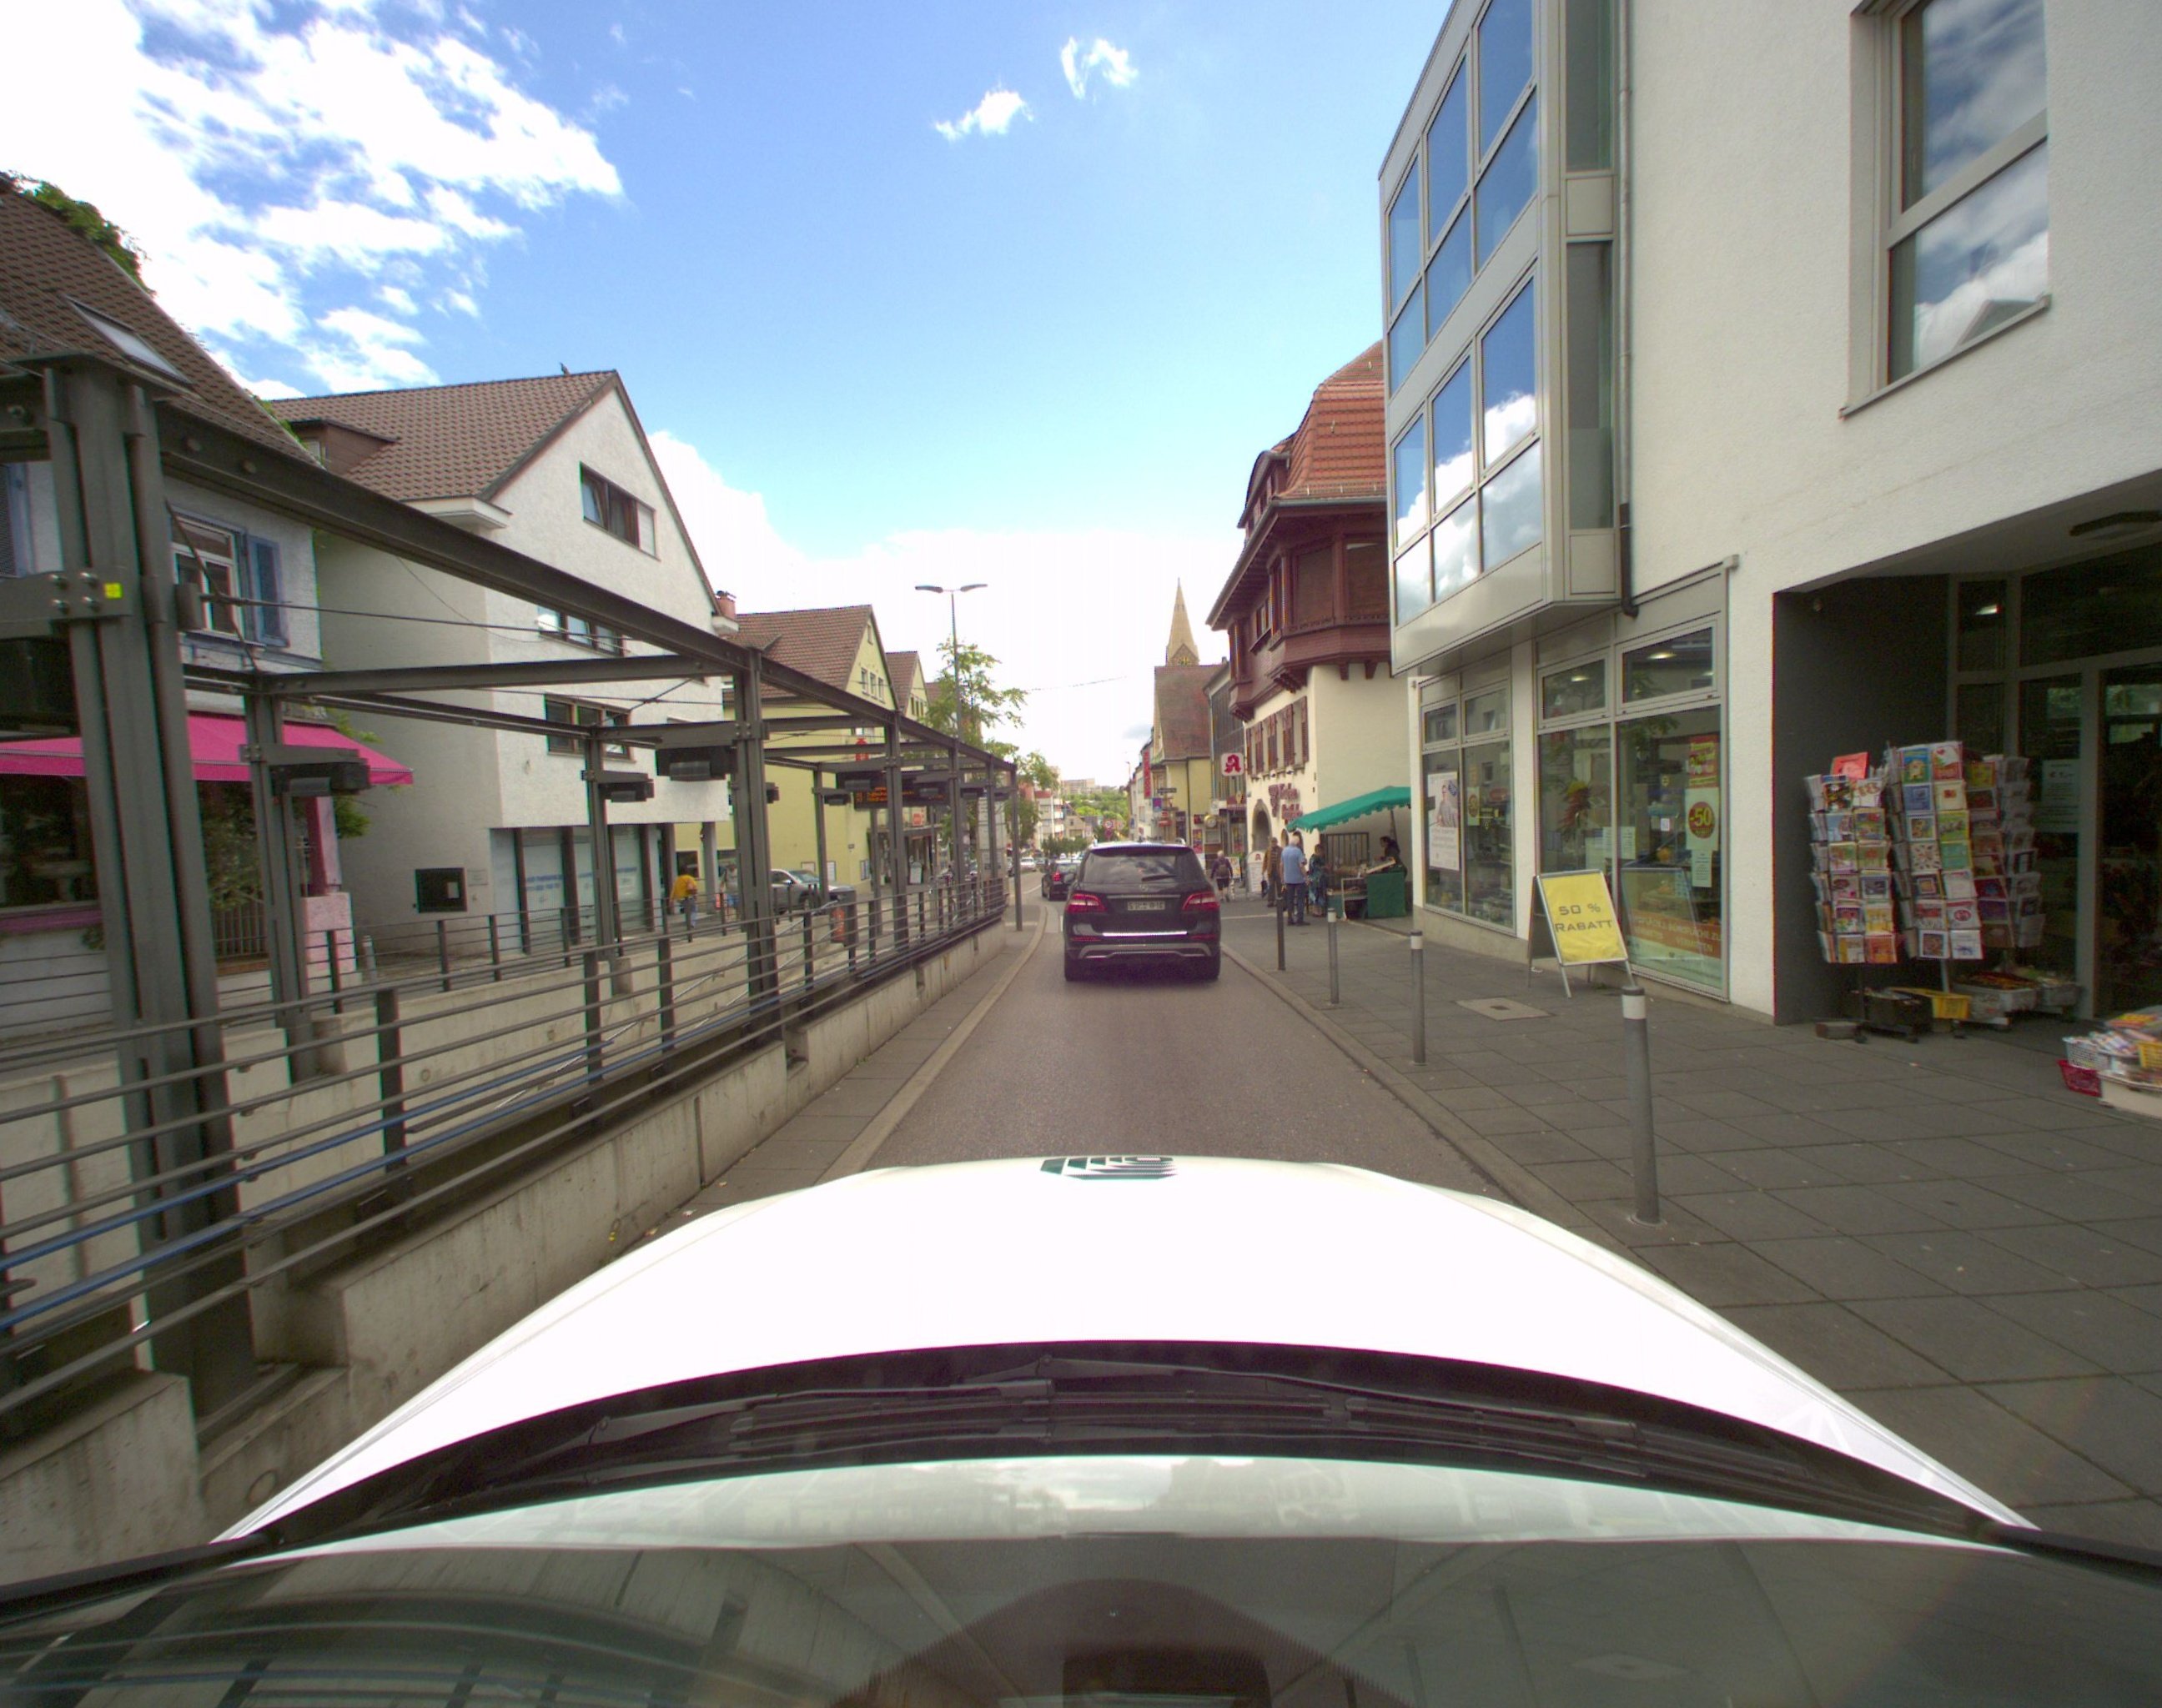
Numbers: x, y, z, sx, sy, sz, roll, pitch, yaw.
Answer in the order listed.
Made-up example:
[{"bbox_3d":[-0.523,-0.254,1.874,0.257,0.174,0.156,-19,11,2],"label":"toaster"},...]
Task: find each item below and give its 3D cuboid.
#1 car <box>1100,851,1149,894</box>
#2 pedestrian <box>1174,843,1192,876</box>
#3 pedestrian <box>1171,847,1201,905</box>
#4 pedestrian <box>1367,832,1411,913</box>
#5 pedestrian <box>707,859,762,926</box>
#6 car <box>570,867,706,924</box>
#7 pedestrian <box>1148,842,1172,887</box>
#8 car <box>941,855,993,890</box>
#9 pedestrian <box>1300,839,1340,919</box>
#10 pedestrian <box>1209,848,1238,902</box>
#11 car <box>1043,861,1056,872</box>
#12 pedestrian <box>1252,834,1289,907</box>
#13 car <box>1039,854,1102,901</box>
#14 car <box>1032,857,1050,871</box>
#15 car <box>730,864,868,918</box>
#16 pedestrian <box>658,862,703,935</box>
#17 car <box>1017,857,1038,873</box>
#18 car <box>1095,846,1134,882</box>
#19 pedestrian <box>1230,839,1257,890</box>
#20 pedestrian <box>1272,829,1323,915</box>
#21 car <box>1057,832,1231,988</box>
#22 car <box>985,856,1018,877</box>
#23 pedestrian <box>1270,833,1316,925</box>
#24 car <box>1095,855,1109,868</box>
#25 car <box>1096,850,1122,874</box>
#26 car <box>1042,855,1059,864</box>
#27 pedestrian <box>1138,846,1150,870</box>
[{"bbox_3d":[1.718,0.713,32.936,1.796,1.555,3.955,-3,0,2],"label":"car"},{"bbox_3d":[5.466,0.301,43.629,0.859,1.707,0.947,-3,0,7],"label":"pedestrian"},{"bbox_3d":[3.082,0.632,23.915,0.768,1.645,0.872,-3,0,7],"label":"pedestrian"},{"bbox_3d":[6.349,0.371,16.800,0.620,1.612,0.704,-3,0,6],"label":"pedestrian"},{"bbox_3d":[-9.699,1.057,22.805,0.909,1.787,0.992,-3,0,17],"label":"pedestrian"},{"bbox_3d":[-18.001,1.669,33.229,4.318,1.805,2.004,-5,3,5],"label":"car"},{"bbox_3d":[3.039,0.396,31.163,0.819,1.666,0.803,-3,0,7],"label":"pedestrian"},{"bbox_3d":[-5.987,0.921,43.291,2.000,1.693,4.608,-1,1,1],"label":"car"},{"bbox_3d":[5.024,0.516,17.148,0.620,1.612,0.704,-3,0,6],"label":"pedestrian"},{"bbox_3d":[4.159,0.612,23.803,0.720,1.531,0.809,-3,0,7],"label":"pedestrian"},{"bbox_3d":[-4.725,1.840,122.023,1.921,1.496,4.259,0,0,-2],"label":"car"},{"bbox_3d":[4.846,0.413,20.823,0.782,1.801,0.677,-3,0,7],"label":"pedestrian"},{"bbox_3d":[-0.447,0.806,29.681,1.785,1.540,3.733,-3,0,-8],"label":"car"},{"bbox_3d":[-4.932,1.278,100.715,1.920,1.621,4.638,-1,-1,0],"label":"car"},{"bbox_3d":[-9.771,1.313,28.247,4.302,1.621,1.980,-4,-5,24],"label":"car"},{"bbox_3d":[-10.009,1.104,20.375,0.635,1.738,0.835,-4,0,-1],"label":"pedestrian"},{"bbox_3d":[-5.452,1.115,83.453,1.920,1.511,4.261,0,0,0],"label":"car"},{"bbox_3d":[1.894,0.501,44.382,1.868,1.799,4.738,-2,0,5],"label":"car"},{"bbox_3d":[5.842,0.361,29.315,0.771,1.769,0.818,-3,0,2],"label":"pedestrian"},{"bbox_3d":[4.857,0.396,18.284,0.771,1.857,0.707,-3,0,44],"label":"pedestrian"},{"bbox_3d":[0.774,0.634,11.289,1.936,1.740,4.180,-1,0,2],"label":"car"},{"bbox_3d":[-5.891,0.872,60.738,1.920,1.492,4.842,0,0,0],"label":"car"},{"bbox_3d":[4.206,0.494,16.153,0.694,1.767,0.629,-3,0,27],"label":"pedestrian"},{"bbox_3d":[3.269,1.199,128.008,1.931,1.891,4.707,-4,0,1],"label":"car"},{"bbox_3d":[2.043,0.565,59.962,1.742,1.607,3.802,-4,0,2],"label":"car"},{"bbox_3d":[-7.440,1.393,197.207,3.978,1.750,1.998,-4,-1,-3],"label":"car"},{"bbox_3d":[4.705,0.296,60.685,0.793,1.727,1.053,-3,0,1],"label":"pedestrian"}]
